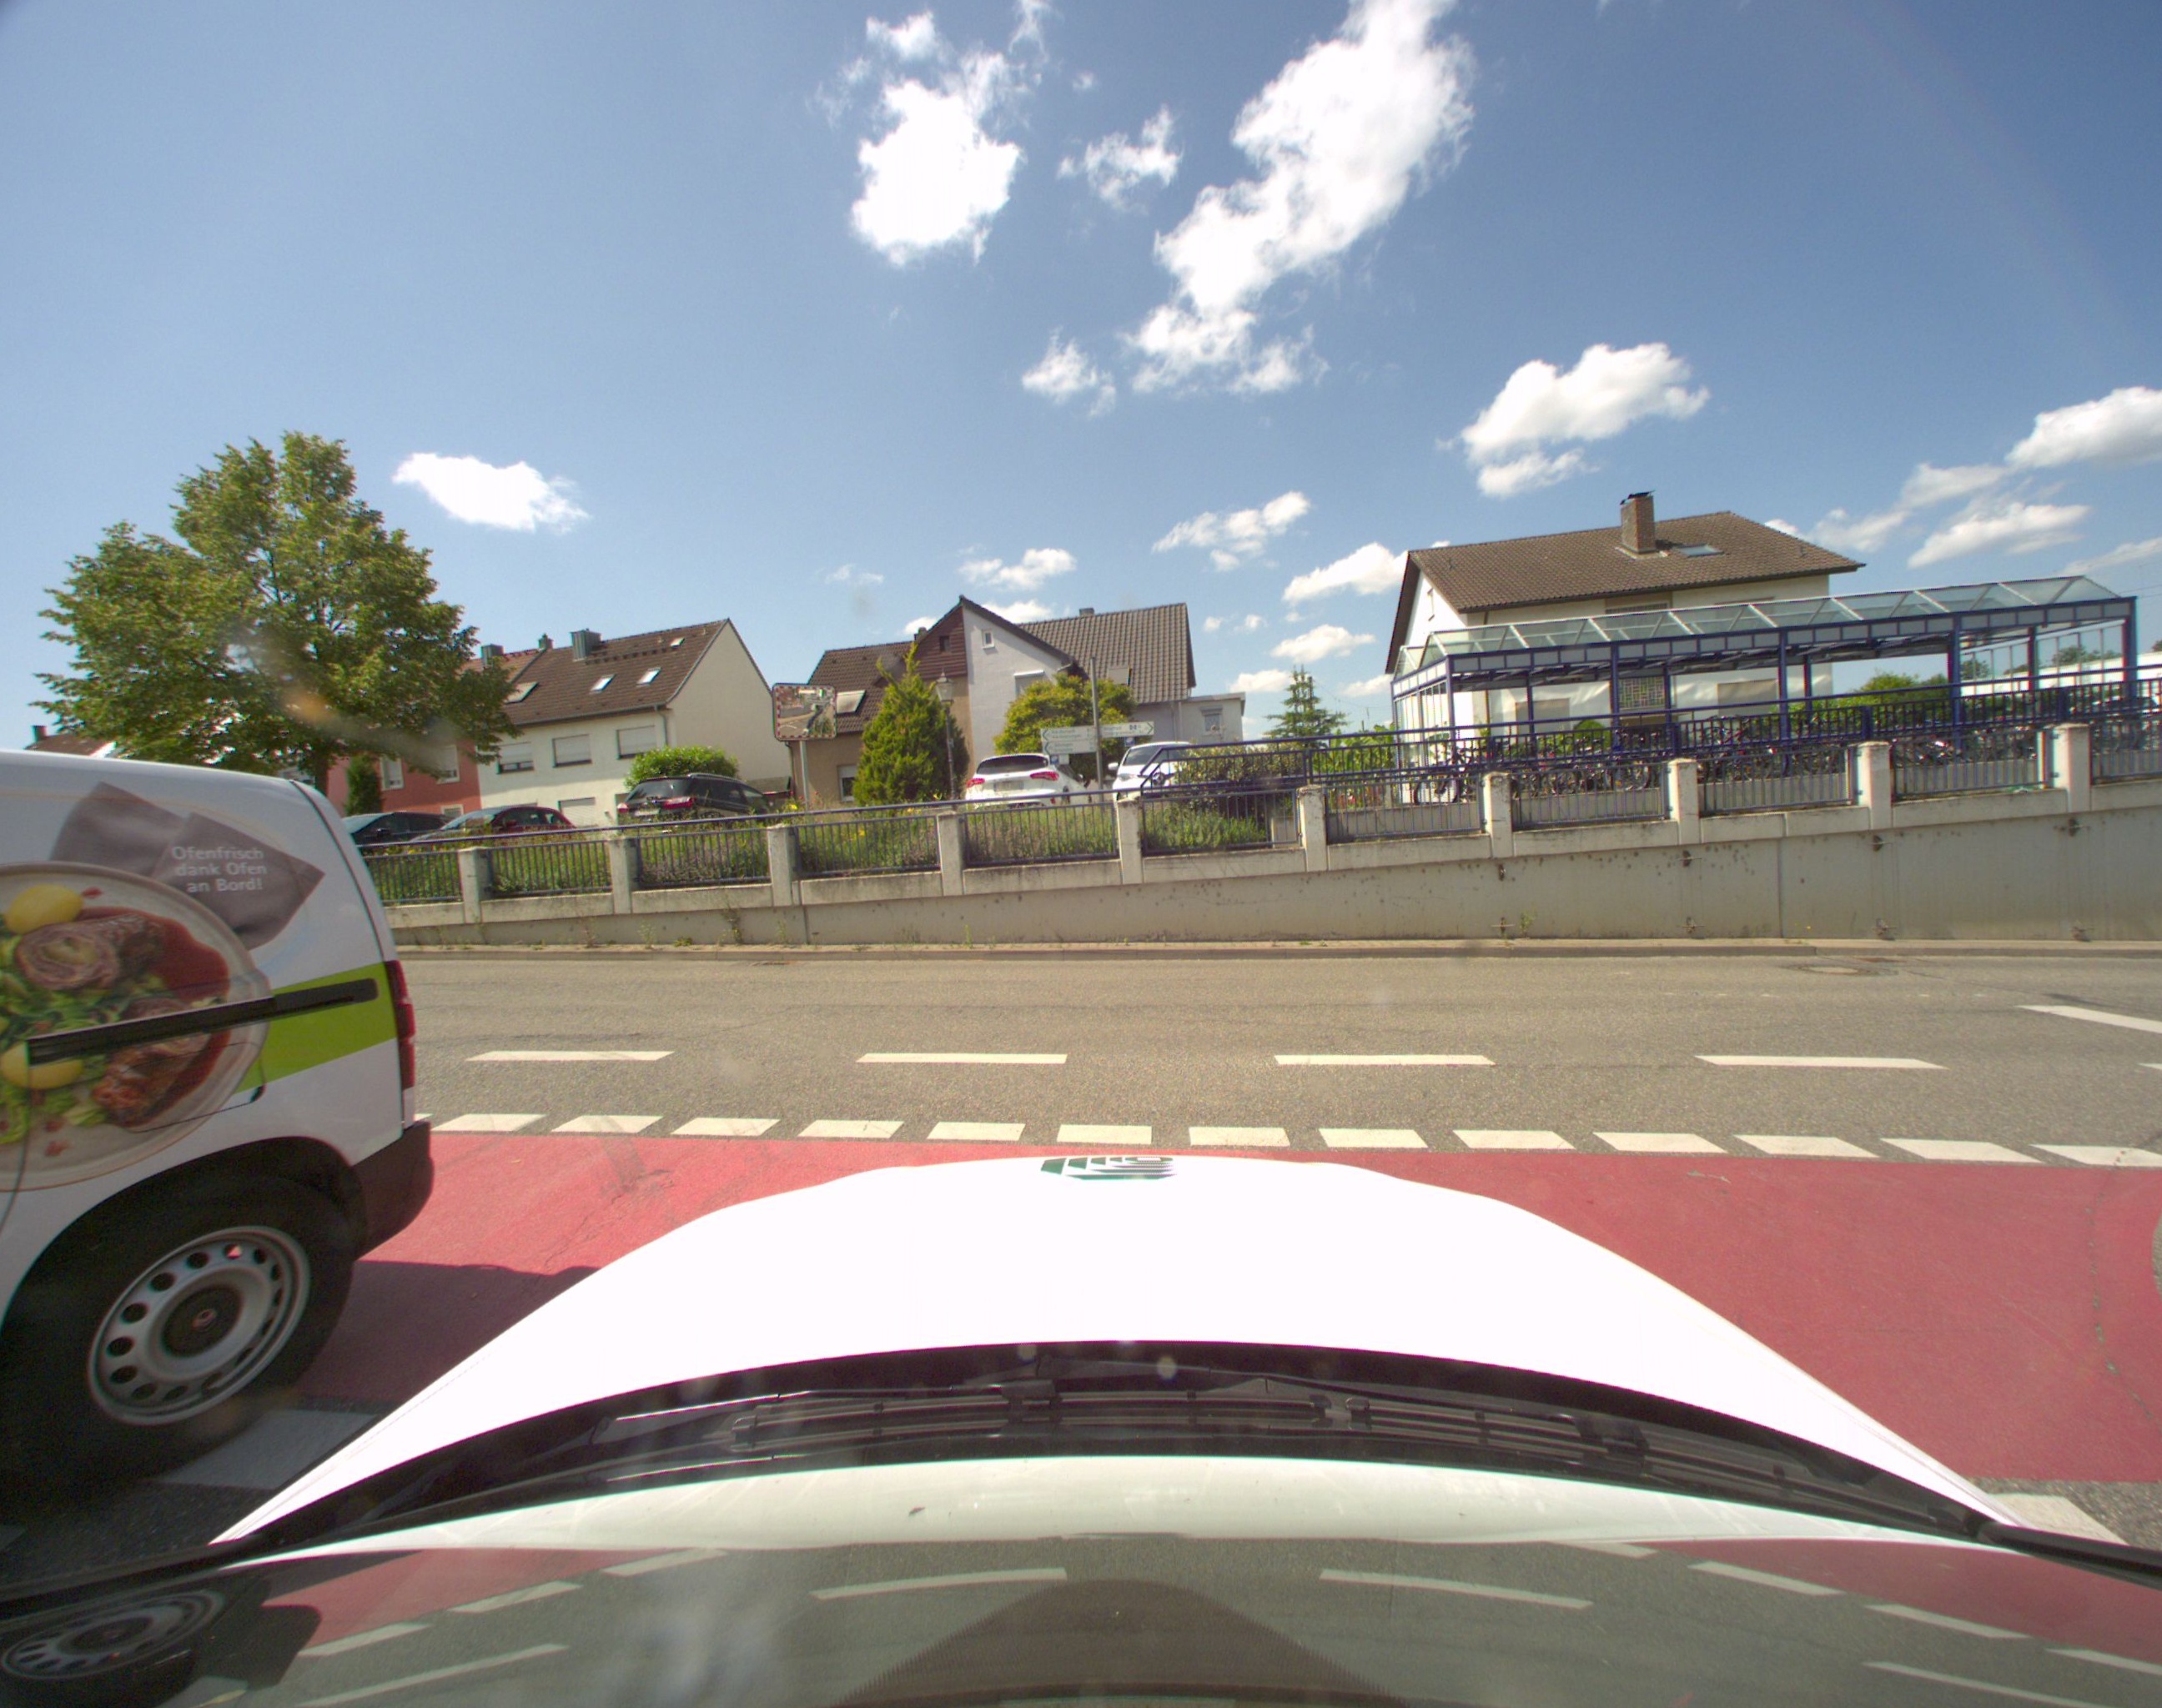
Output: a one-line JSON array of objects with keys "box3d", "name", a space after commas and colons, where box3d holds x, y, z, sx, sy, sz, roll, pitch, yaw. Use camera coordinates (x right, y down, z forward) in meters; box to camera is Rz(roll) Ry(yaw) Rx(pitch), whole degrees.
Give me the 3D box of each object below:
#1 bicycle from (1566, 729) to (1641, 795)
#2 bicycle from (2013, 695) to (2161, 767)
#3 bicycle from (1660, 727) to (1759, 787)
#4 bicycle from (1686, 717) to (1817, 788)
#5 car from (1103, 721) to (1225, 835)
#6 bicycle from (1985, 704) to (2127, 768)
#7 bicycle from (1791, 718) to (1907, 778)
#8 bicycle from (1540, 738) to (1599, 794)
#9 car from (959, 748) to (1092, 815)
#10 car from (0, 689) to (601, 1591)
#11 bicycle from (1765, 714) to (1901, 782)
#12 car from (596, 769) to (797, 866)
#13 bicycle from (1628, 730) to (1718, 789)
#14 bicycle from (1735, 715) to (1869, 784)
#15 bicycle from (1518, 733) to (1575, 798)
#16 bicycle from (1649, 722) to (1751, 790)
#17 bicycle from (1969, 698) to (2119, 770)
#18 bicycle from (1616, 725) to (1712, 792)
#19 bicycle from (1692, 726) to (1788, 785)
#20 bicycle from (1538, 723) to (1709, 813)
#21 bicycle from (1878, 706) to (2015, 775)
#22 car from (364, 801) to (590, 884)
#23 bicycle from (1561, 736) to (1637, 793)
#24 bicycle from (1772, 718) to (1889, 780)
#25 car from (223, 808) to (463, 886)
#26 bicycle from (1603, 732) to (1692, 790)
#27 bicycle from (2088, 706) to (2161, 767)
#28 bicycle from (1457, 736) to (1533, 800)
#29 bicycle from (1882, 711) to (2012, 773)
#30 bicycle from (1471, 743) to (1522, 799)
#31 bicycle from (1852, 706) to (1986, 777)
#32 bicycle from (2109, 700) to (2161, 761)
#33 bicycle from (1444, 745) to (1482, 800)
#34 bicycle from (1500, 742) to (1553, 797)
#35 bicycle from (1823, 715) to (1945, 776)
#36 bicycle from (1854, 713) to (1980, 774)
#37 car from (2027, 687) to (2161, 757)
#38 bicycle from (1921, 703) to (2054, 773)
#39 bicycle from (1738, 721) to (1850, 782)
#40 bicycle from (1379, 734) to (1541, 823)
[{"box3d": [8.918, -1.531, 13.966, 0.432, 0.994, 2.111, -3, 3, 15], "name": "bicycle"}, {"box3d": [17.007, -2.035, 13.768, 0.540, 0.994, 2.047, -3, 3, 13], "name": "bicycle"}, {"box3d": [12.331, -1.876, 16.051, 0.516, 0.994, 1.968, -3, 3, 3], "name": "bicycle"}, {"box3d": [11.374, -1.685, 13.923, 0.530, 0.994, 2.285, -3, 3, 6], "name": "bicycle"}, {"box3d": [1.669, -1.277, 15.337, 1.982, 1.797, 4.207, 0, 1, 9], "name": "car"}, {"box3d": [18.606, -2.220, 15.616, 0.540, 0.994, 2.045, -3, 3, 10], "name": "bicycle"}, {"box3d": [15.041, -2.046, 16.021, 0.516, 0.994, 1.968, -3, 3, 3], "name": "bicycle"}, {"box3d": [9.668, -1.712, 16.180, 0.370, 0.994, 1.973, -3, 3, 12], "name": "bicycle"}, {"box3d": [-0.945, -1.316, 15.687, 1.814, 1.019, 3.468, 0, 1, 9], "name": "car"}, {"box3d": [-3.305, 0.604, 1.109, 1.798, 1.854, 4.579, 0, 1, 15], "name": "car"}, {"box3d": [13.061, -1.806, 14.245, 0.530, 0.994, 2.192, -3, 3, 6], "name": "bicycle"}, {"box3d": [-7.861, -0.708, 17.126, 1.856, 1.797, 4.010, 0, 1, 9], "name": "car"}, {"box3d": [11.618, -1.831, 16.061, 0.412, 0.994, 1.968, -3, 3, 3], "name": "bicycle"}, {"box3d": [12.358, -1.753, 14.060, 0.530, 0.994, 2.192, -3, 3, 6], "name": "bicycle"}, {"box3d": [7.886, -1.461, 13.866, 0.432, 0.994, 2.113, -3, 3, 19], "name": "bicycle"}, {"box3d": [10.621, -1.643, 14.066, 0.432, 0.994, 2.289, -3, 3, 12], "name": "bicycle"}, {"box3d": [16.191, -1.984, 13.774, 0.512, 0.994, 2.047, -3, 3, 13], "name": "bicycle"}, {"box3d": [10.045, -1.610, 14.130, 0.432, 0.994, 2.289, -3, 3, 12], "name": "bicycle"}, {"box3d": [13.009, -1.922, 16.138, 0.516, 0.994, 1.804, -3, 3, 3], "name": "bicycle"}, {"box3d": [7.709, -1.216, 11.606, 2.106, 1.125, 0.393, -3, 2, 2], "name": "bicycle"}, {"box3d": [14.770, -1.903, 13.979, 0.512, 0.994, 2.046, -3, 3, 11], "name": "bicycle"}, {"box3d": [-12.808, -0.256, 17.576, 1.856, 1.586, 3.619, 0, 1, 9], "name": "car"}, {"box3d": [10.316, -1.758, 16.288, 0.424, 0.994, 1.970, -3, 3, 6], "name": "bicycle"}, {"box3d": [14.465, -1.999, 15.793, 0.516, 0.994, 1.968, -3, 3, 3], "name": "bicycle"}, {"box3d": [-16.493, -0.184, 18.470, 1.856, 1.586, 3.619, 0, 1, 9], "name": "car"}, {"box3d": [11.145, -1.802, 16.102, 0.471, 0.994, 1.968, -3, 3, 3], "name": "bicycle"}, {"box3d": [18.861, -2.065, 14.020, 0.434, 0.994, 2.164, -3, 3, 3], "name": "bicycle"}, {"box3d": [7.254, -1.476, 14.352, 0.330, 0.994, 2.078, -3, 3, 3], "name": "bicycle"}, {"box3d": [16.777, -2.149, 15.854, 0.516, 0.994, 1.968, -3, 3, 3], "name": "bicycle"}, {"box3d": [8.176, -1.613, 16.082, 0.370, 0.994, 1.973, -3, 3, 12], "name": "bicycle"}, {"box3d": [13.992, -1.840, 13.692, 0.574, 0.994, 2.198, -3, 3, 17], "name": "bicycle"}, {"box3d": [18.936, -2.161, 13.833, 0.541, 0.994, 2.043, -3, 3, 7], "name": "bicycle"}, {"box3d": [7.477, -1.564, 15.991, 0.451, 0.994, 1.898, -3, 3, 20], "name": "bicycle"}, {"box3d": [8.961, -1.678, 16.426, 0.370, 0.994, 1.973, -3, 3, 12], "name": "bicycle"}, {"box3d": [15.647, -2.081, 15.946, 0.516, 0.994, 1.968, -3, 3, 3], "name": "bicycle"}, {"box3d": [16.229, -2.115, 15.884, 0.516, 0.994, 1.968, -3, 3, 3], "name": "bicycle"}, {"box3d": [30.774, -3.879, 23.630, 1.988, 1.677, 4.000, -4, 3, -1], "name": "car"}, {"box3d": [15.469, -1.947, 13.977, 0.511, 0.994, 2.048, -3, 3, 16], "name": "bicycle"}, {"box3d": [13.730, -1.951, 15.757, 0.516, 0.994, 1.968, -3, 3, 3], "name": "bicycle"}, {"box3d": [5.415, -1.074, 11.679, 2.106, 1.125, 0.333, -3, 2, 2], "name": "bicycle"}]
